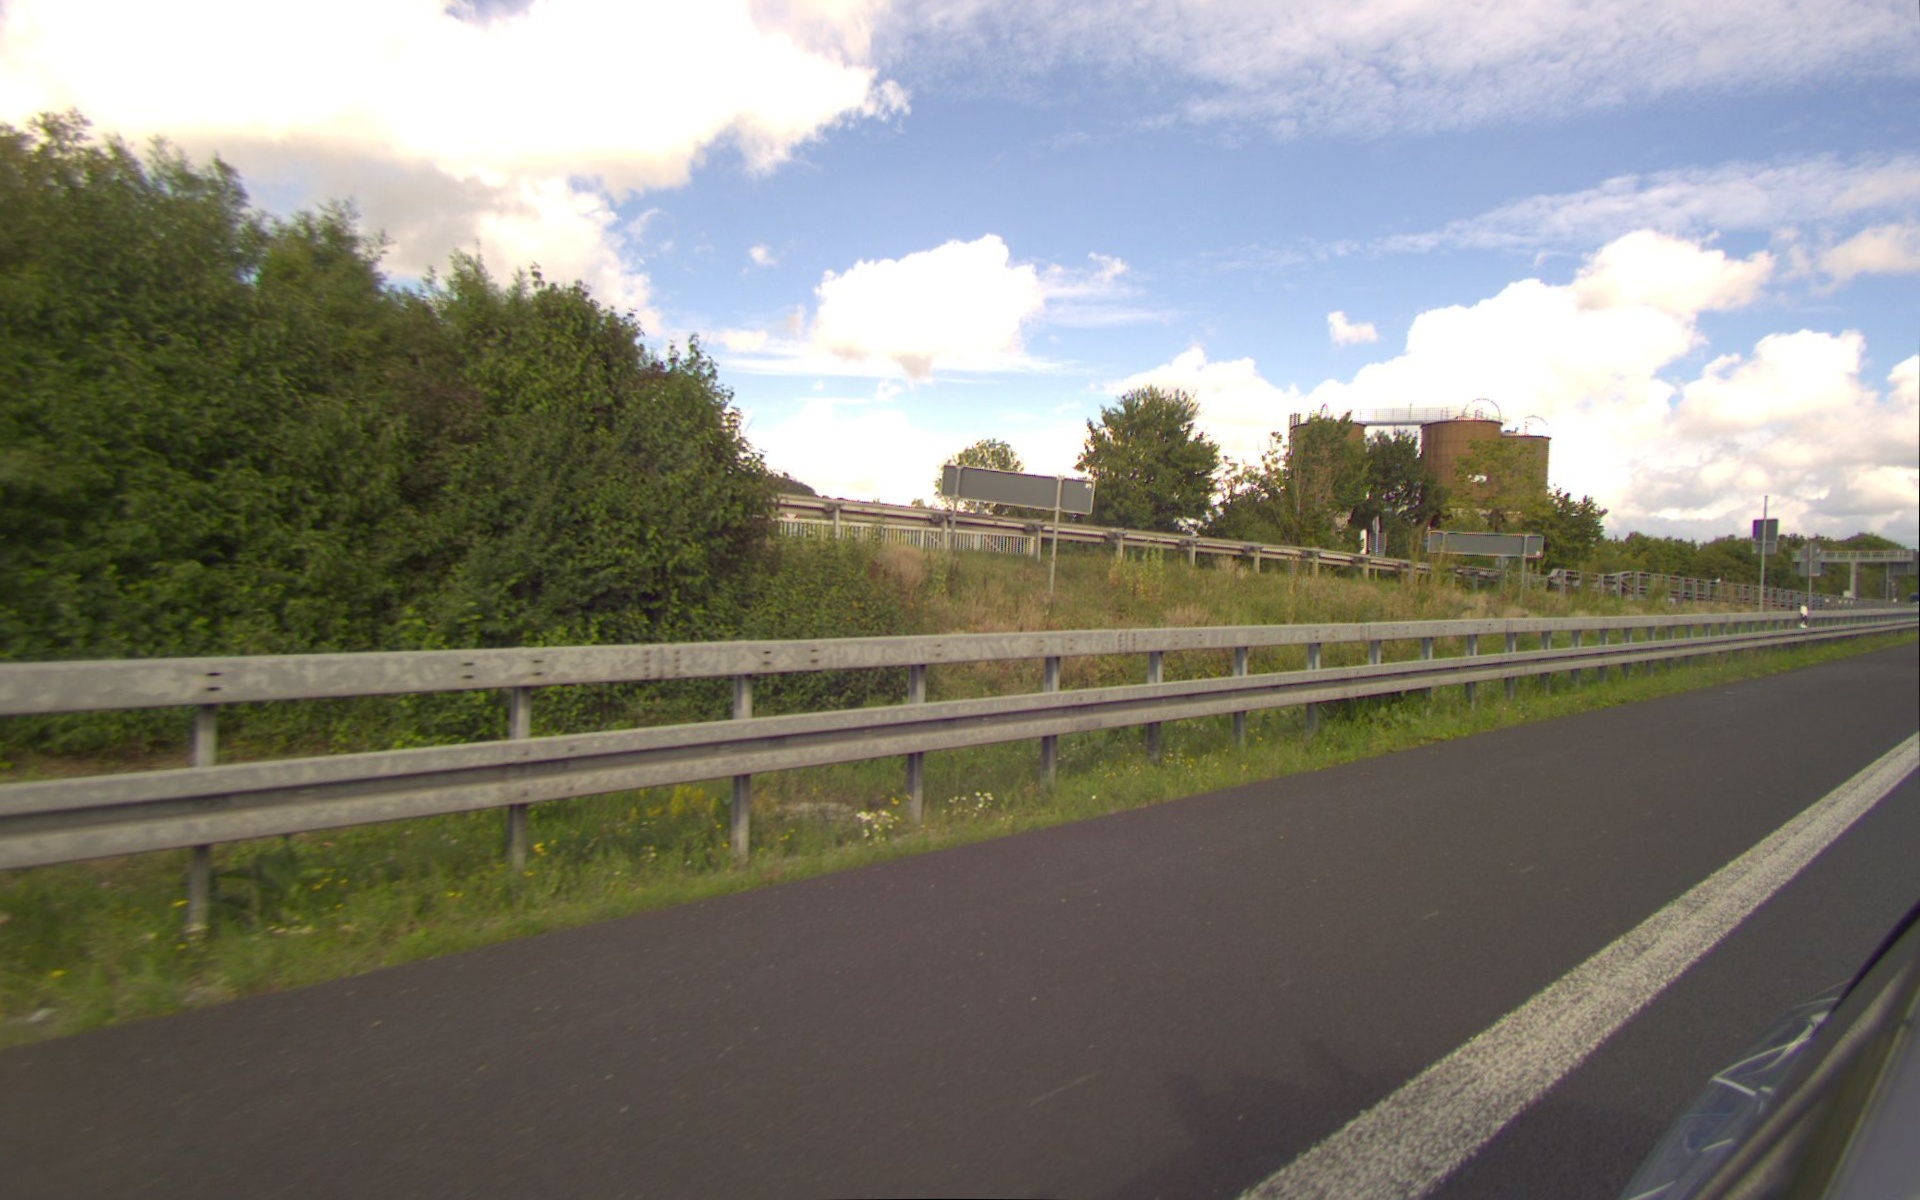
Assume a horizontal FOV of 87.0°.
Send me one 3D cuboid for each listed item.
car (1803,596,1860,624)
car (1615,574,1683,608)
[{"bbox_3d":[50.446,0.551,58.546,3.931,1.503,1.997,0,2,-41],"label":"car"},{"bbox_3d":[36.874,-0.499,54.167,3.929,1.729,1.998,0,3,-40],"label":"car"}]
